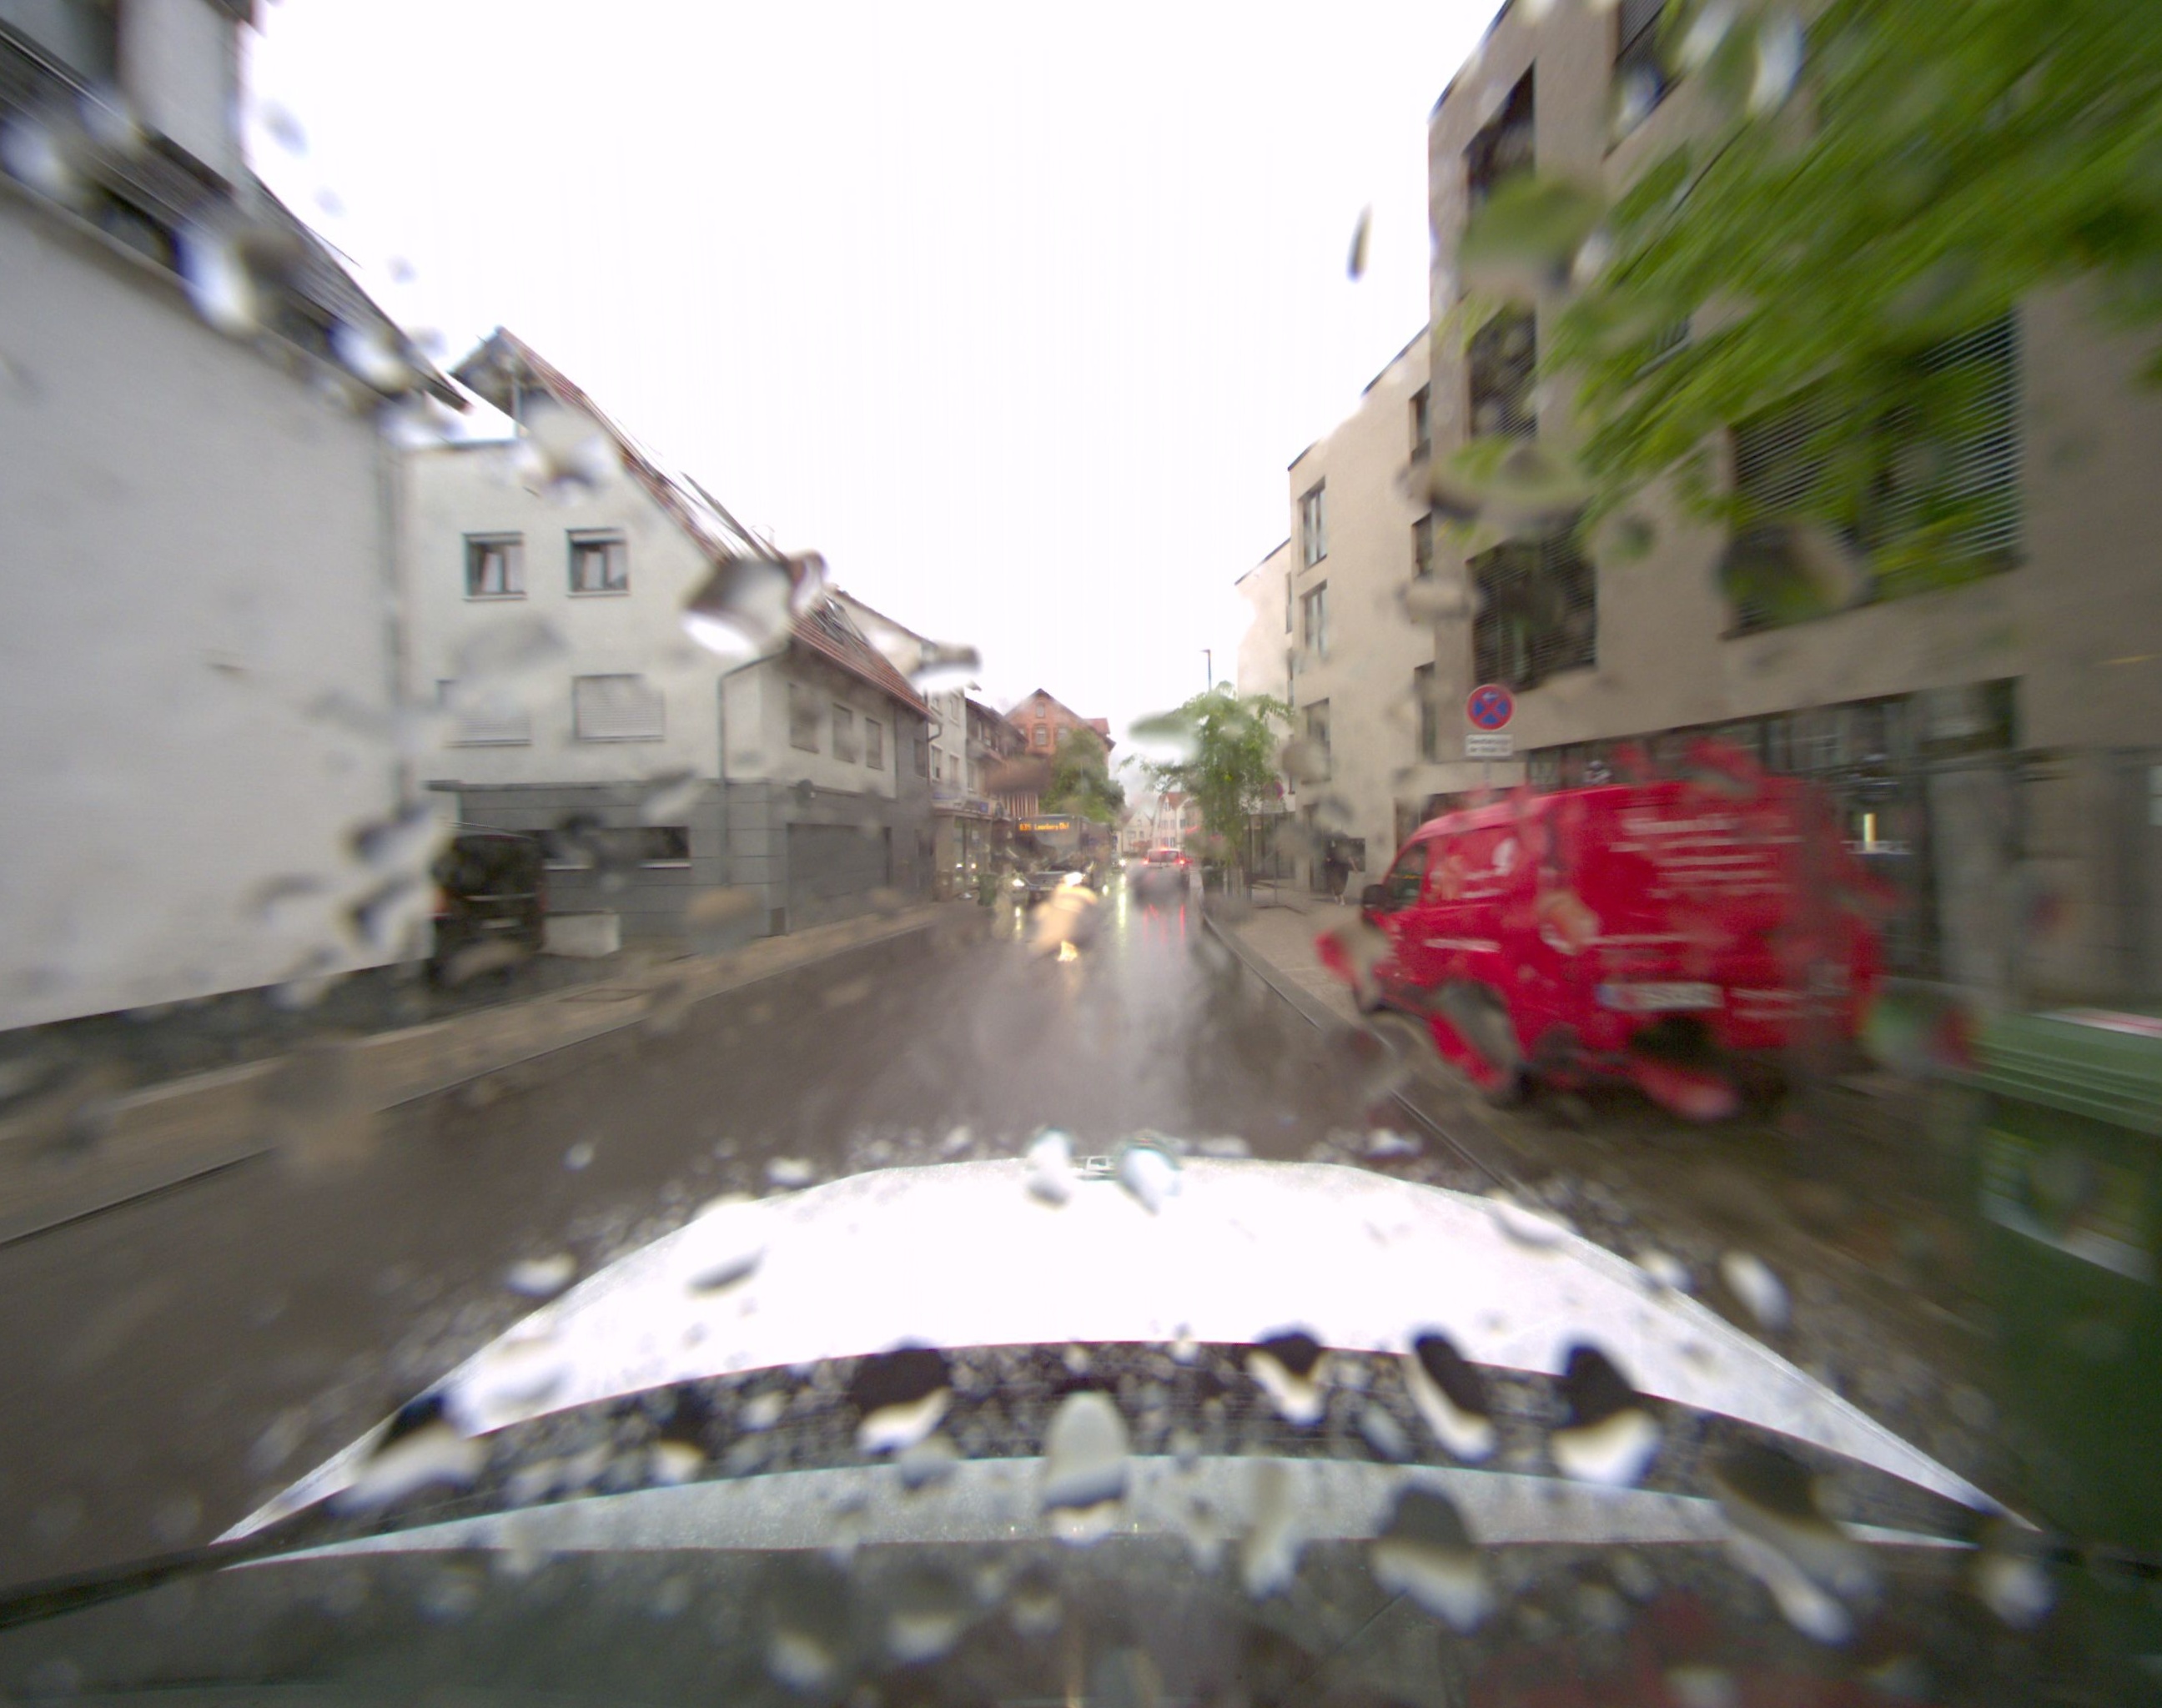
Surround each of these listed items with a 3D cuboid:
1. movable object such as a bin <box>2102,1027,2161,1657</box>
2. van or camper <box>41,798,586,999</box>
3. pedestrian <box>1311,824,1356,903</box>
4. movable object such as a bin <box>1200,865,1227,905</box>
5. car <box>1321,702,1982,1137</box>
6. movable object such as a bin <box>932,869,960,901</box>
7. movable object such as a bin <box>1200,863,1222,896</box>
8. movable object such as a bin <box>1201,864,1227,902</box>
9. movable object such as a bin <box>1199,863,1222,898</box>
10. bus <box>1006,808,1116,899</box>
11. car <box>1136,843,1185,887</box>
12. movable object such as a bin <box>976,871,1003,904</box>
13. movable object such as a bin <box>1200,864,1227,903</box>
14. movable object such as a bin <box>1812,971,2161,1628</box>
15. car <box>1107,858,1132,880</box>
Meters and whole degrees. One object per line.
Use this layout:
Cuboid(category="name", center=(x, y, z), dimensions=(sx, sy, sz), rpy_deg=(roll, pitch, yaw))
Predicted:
Cuboid(category="movable object such as a bin", center=(2.213, 0.848, 1.165), dimensions=(0.706, 1.087, 0.601), rpy_deg=(-2, 0, 2))
Cuboid(category="van or camper", center=(-9.446, 0.505, 10.338), dimensions=(5.003, 1.933, 2.002), rpy_deg=(4, -1, 3))
Cuboid(category="pedestrian", center=(6.613, 0.247, 21.365), dimensions=(0.863, 2.014, 1.083), rpy_deg=(-1, -1, 3))
Cuboid(category="movable object such as a bin", center=(3.998, 0.932, 24.559), dimensions=(0.747, 1.171, 0.632), rpy_deg=(-2, -1, 11))
Cuboid(category="car", center=(3.272, 0.339, 6.043), dimensions=(1.827, 1.907, 4.609), rpy_deg=(-3, -1, 4))
Cuboid(category="movable object such as a bin", center=(-4.594, 1.057, 27.766), dimensions=(0.789, 1.059, 0.702), rpy_deg=(0, -1, 3))
Cuboid(category="movable object such as a bin", center=(4.492, 0.893, 28.210), dimensions=(0.720, 1.118, 0.578), rpy_deg=(-1, 0, 8))
Cuboid(category="movable object such as a bin", center=(4.271, 0.932, 26.093), dimensions=(0.747, 1.171, 0.632), rpy_deg=(-2, -1, 11))
Cuboid(category="movable object such as a bin", center=(4.293, 0.878, 27.035), dimensions=(0.757, 1.118, 0.625), rpy_deg=(-1, 0, 8))
Cuboid(category="bus", center=(-0.450, -0.028, 33.181), dimensions=(2.708, 3.080, 10.971), rpy_deg=(-1, 0, 8))
Cuboid(category="car", center=(3.757, 0.524, 38.460), dimensions=(2.142, 1.899, 4.933), rpy_deg=(-1, -1, 6))
Cuboid(category="movable object such as a bin", center=(-2.985, 1.082, 26.588), dimensions=(0.737, 1.059, 0.727), rpy_deg=(0, -1, 3))
Cuboid(category="movable object such as a bin", center=(4.143, 0.914, 25.441), dimensions=(0.747, 1.171, 0.632), rpy_deg=(-2, -1, 11))
Cuboid(category="movable object such as a bin", center=(2.239, 0.854, 1.780), dimensions=(0.706, 1.087, 0.601), rpy_deg=(-2, 0, 2))
Cuboid(category="car", center=(2.928, 1.097, 61.205), dimensions=(1.778, 1.508, 4.473), rpy_deg=(-1, 1, 4))
